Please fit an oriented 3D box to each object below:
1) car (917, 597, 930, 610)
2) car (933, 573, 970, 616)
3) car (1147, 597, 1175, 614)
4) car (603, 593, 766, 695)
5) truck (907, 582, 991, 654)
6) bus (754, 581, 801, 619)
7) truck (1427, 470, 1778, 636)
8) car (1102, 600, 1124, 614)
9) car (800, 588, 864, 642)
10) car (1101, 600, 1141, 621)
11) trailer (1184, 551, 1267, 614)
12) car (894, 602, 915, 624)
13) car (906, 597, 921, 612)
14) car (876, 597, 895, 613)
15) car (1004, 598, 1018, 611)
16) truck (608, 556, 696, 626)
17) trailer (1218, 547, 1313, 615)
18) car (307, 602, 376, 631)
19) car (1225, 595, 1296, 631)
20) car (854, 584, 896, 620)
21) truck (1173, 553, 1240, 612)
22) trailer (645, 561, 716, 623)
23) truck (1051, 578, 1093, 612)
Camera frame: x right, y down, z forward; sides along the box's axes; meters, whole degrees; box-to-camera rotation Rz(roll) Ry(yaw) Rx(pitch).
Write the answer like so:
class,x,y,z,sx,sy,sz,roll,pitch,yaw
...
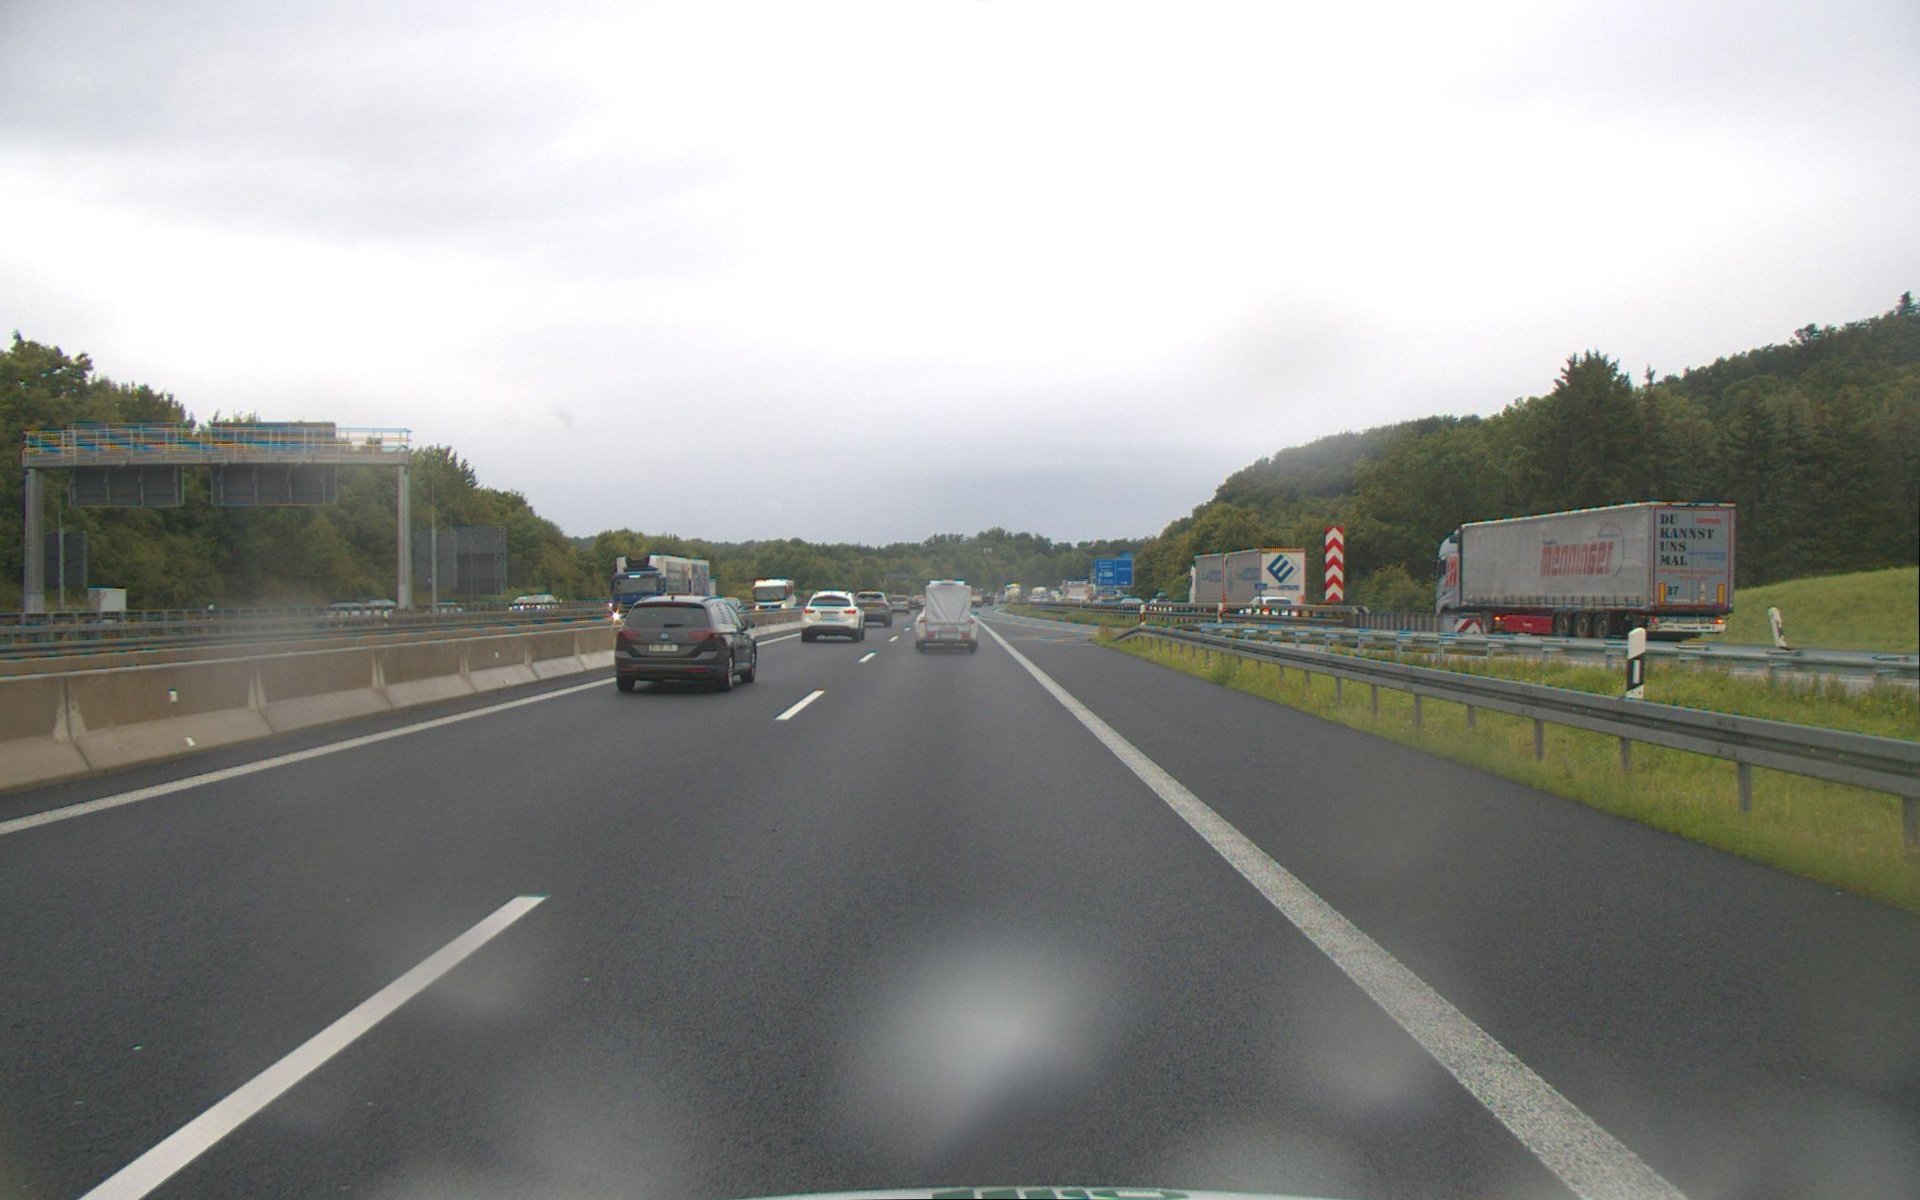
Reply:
class,x,y,z,sx,sy,sz,roll,pitch,yaw
car,-4.787,0.454,216.753,1.611,1.601,4.000,1,0,0
car,-0.592,-0.387,110.132,2.284,2.773,6.538,0,0,-2
car,15.816,0.436,129.988,1.663,1.311,3.534,1,0,-1
car,-4.335,0.645,26.703,1.750,1.484,4.802,1,0,1
truck,-0.337,0.484,47.345,2.196,1.871,6.583,1,0,-1
bus,-13.154,0.004,119.610,2.489,2.632,8.269,1,0,-1
truck,20.265,-1.269,54.405,3.746,4.620,16.867,0,0,-5
car,14.490,0.657,156.601,1.663,1.311,3.533,1,0,-2
car,-4.327,0.473,55.296,2.009,1.700,4.535,1,0,-6
car,11.396,0.748,117.619,1.947,1.401,5.314,1,0,-4
trailer,16.169,-1.023,101.359,2.882,3.588,8.408,1,0,-6
car,-4.776,1.118,143.273,1.703,1.825,3.999,1,0,-1
car,-5.129,0.482,182.717,1.611,1.601,4.000,1,0,0
car,-7.794,0.502,172.235,1.782,1.691,4.017,0,0,0
car,6.587,0.625,213.685,1.611,1.601,4.000,1,0,0
truck,-16.829,-0.444,91.183,2.750,3.586,10.640,1,0,0
trailer,17.084,-1.019,93.149,3.019,3.588,8.073,1,0,-6
car,-32.052,0.841,85.828,1.952,1.422,4.001,0,0,2
car,14.156,0.609,78.171,1.955,1.645,5.072,0,0,-6
car,-4.250,0.101,83.341,1.935,1.733,4.801,1,0,-1
truck,15.719,-1.072,105.782,2.881,3.588,5.920,1,0,-5
trailer,-16.910,-0.450,100.554,2.882,3.577,8.051,1,0,0
truck,13.145,-0.579,194.176,3.750,3.723,8.265,1,0,-4
